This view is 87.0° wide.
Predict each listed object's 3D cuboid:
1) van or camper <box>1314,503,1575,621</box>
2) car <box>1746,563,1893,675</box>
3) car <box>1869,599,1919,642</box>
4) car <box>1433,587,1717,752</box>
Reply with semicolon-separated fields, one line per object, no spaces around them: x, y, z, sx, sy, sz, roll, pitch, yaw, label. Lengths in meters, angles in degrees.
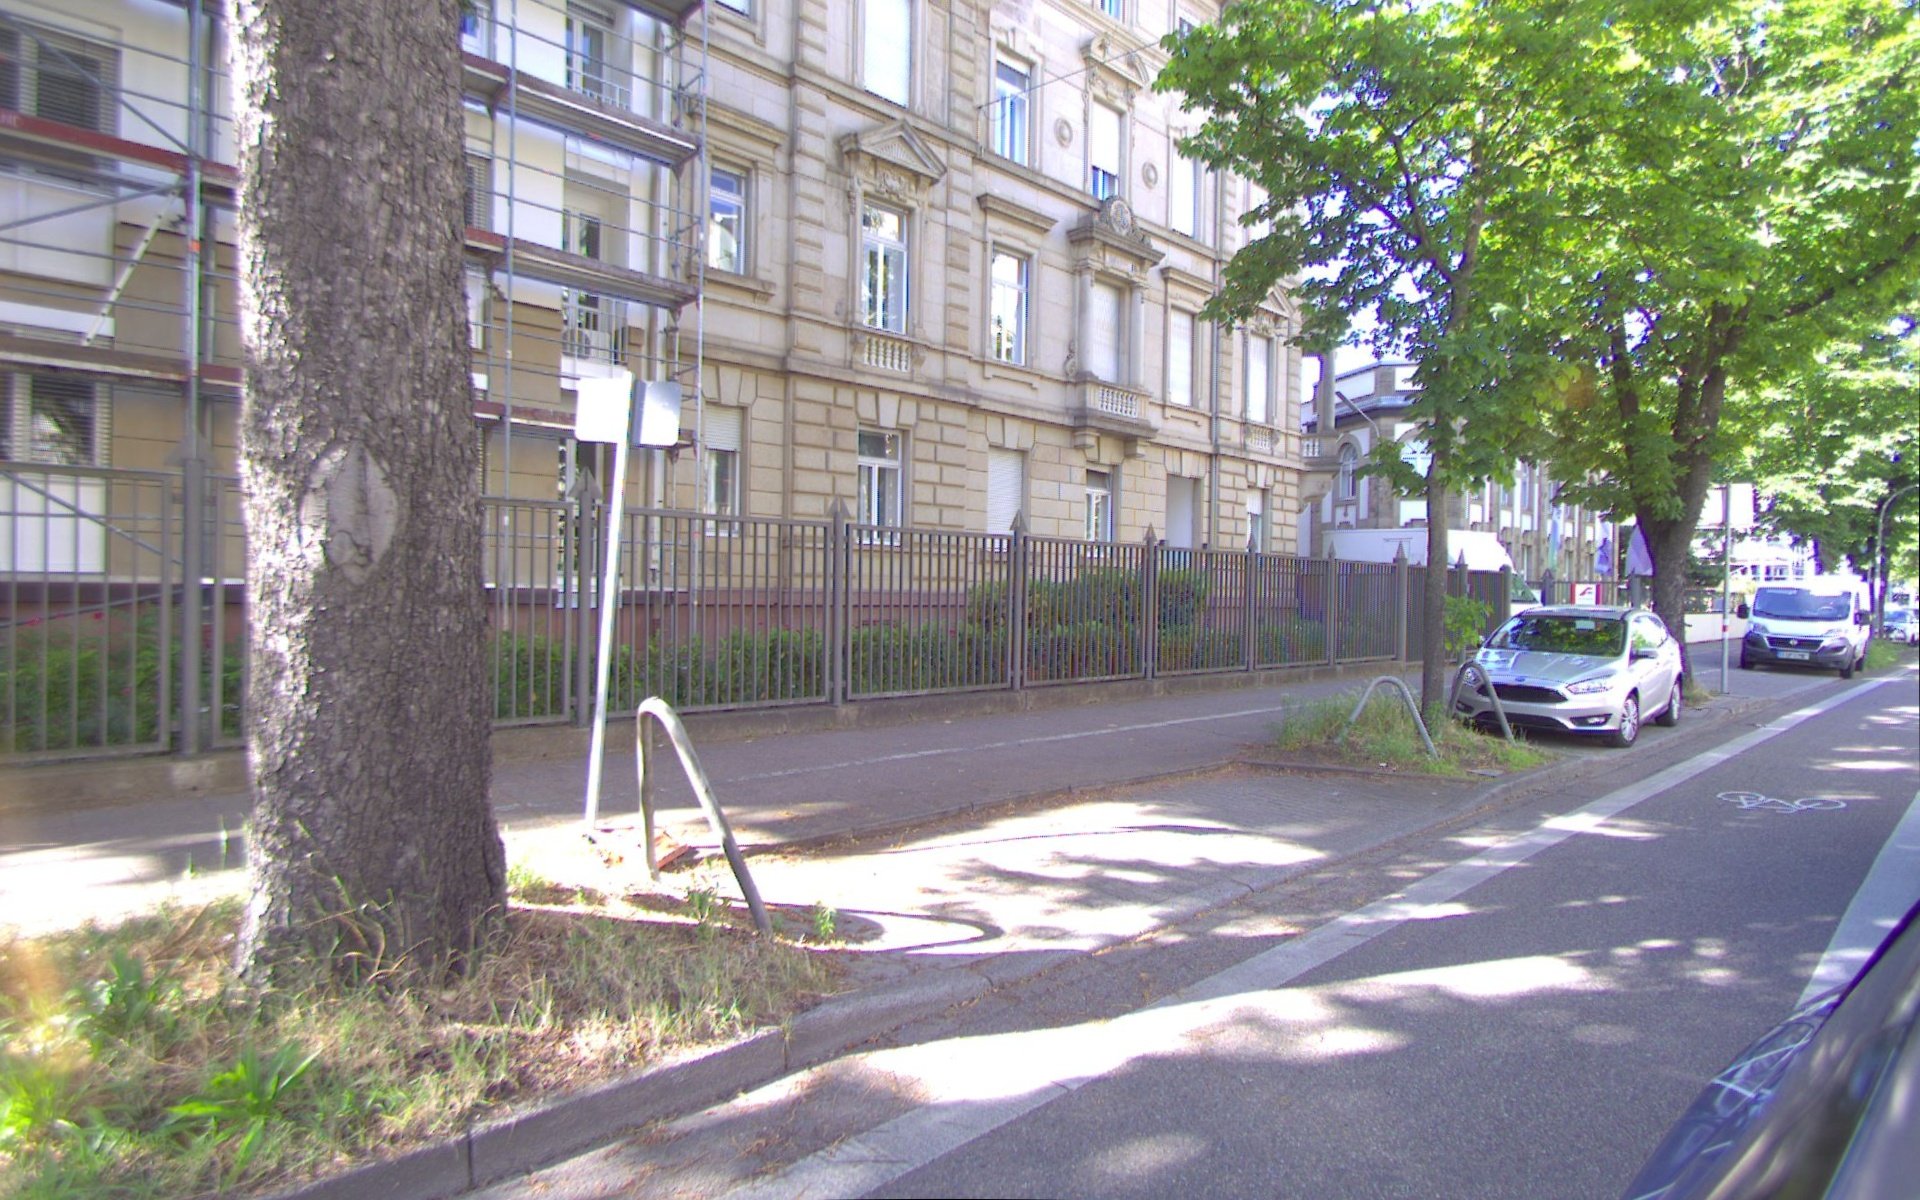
12.248;-0.889;26.372;2.078;2.660;6.751;0;0;-17;van or camper
20.975;0.351;24.593;5.710;2.371;2.129;-1;3;-44;car
37.431;0.776;40.077;4.035;1.569;1.863;-1;1;-44;car
7.538;0.667;12.223;4.294;1.562;1.874;-1;3;-44;car
